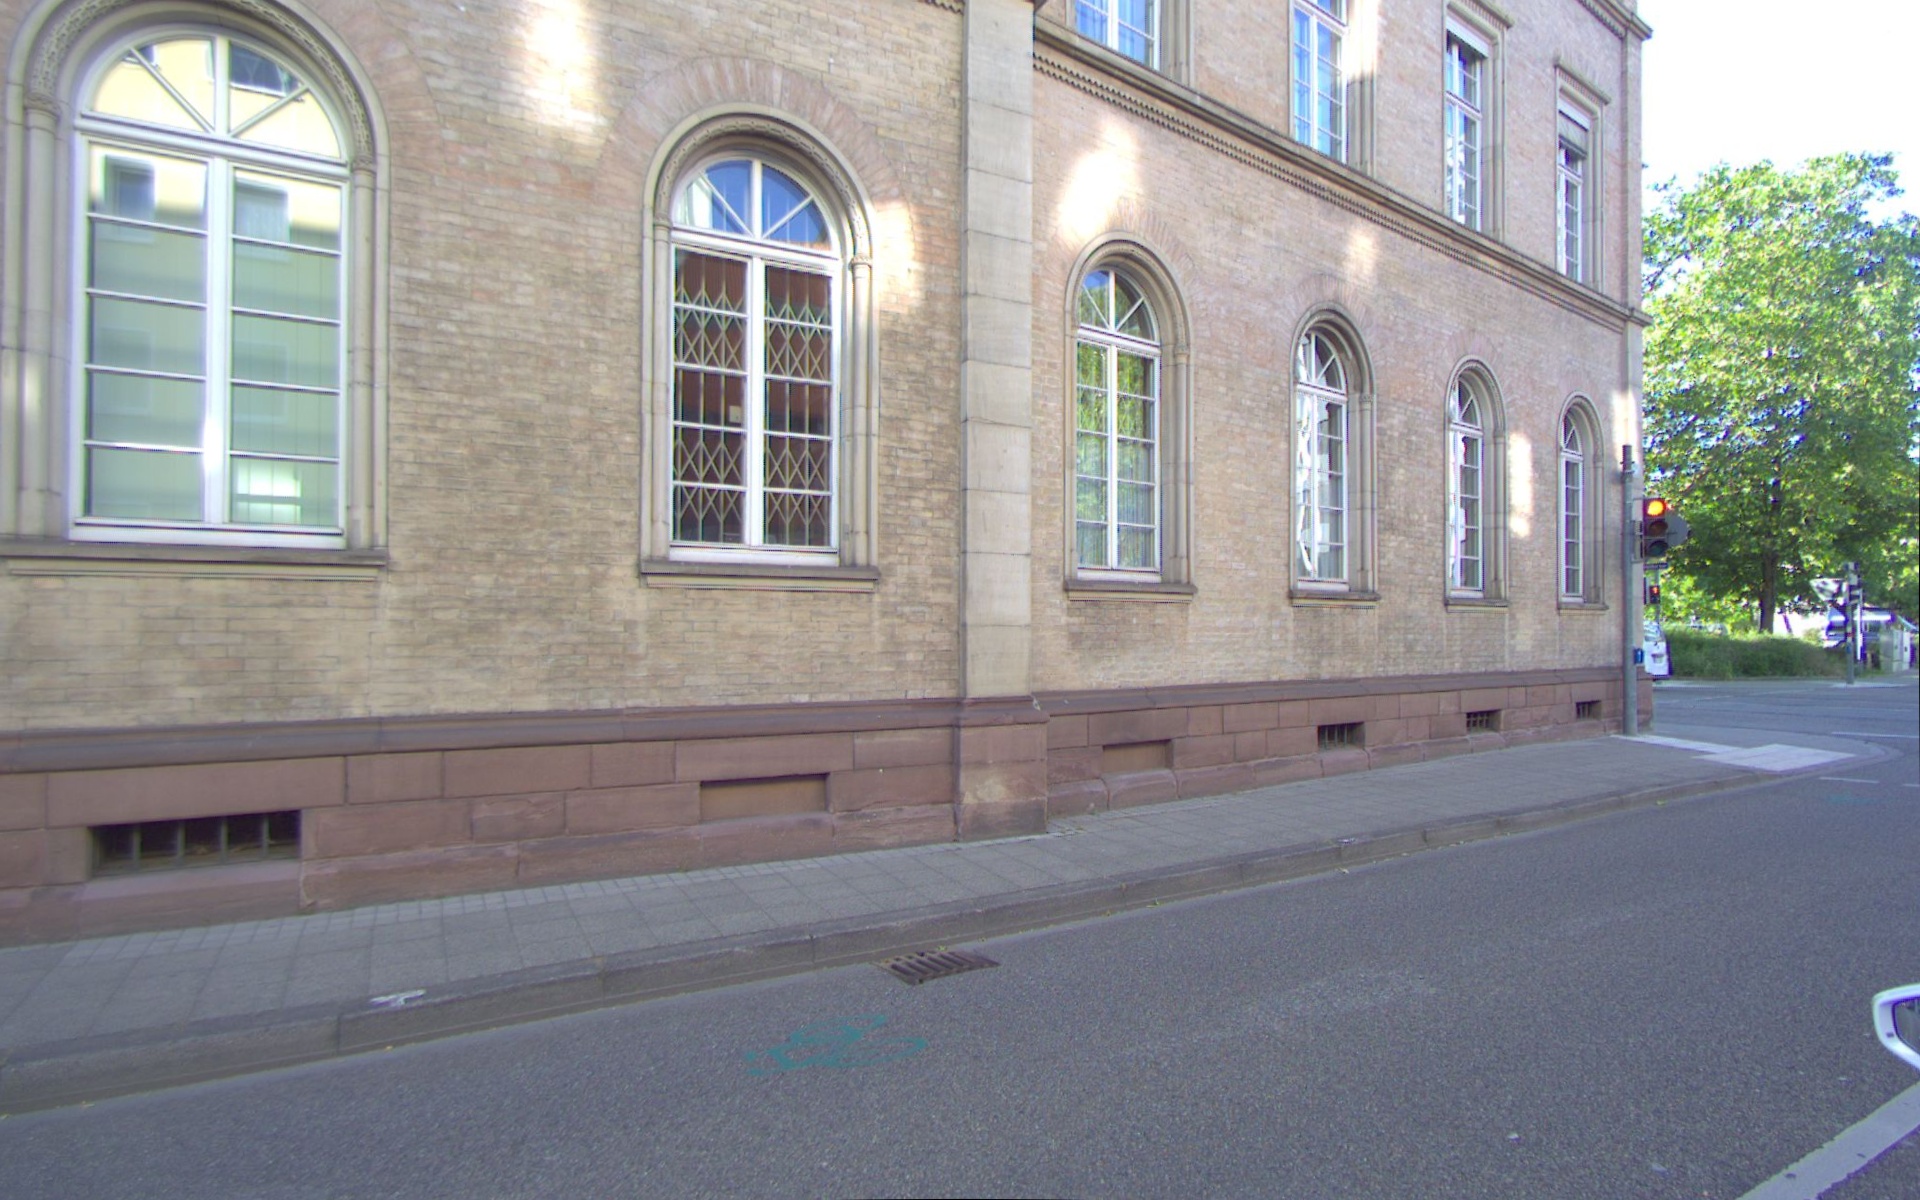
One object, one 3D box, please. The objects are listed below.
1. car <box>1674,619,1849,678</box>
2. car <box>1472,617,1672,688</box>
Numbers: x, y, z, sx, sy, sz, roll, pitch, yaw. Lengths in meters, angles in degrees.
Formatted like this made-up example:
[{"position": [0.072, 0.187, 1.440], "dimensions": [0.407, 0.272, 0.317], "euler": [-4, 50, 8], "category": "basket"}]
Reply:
[{"position": [26.341, 1.545, 33.117], "dimensions": [1.888, 1.801, 4.193], "euler": [1, -2, -37], "category": "car"}, {"position": [16.995, 1.436, 28.114], "dimensions": [1.621, 1.823, 4.509], "euler": [1, -3, -36], "category": "car"}]
